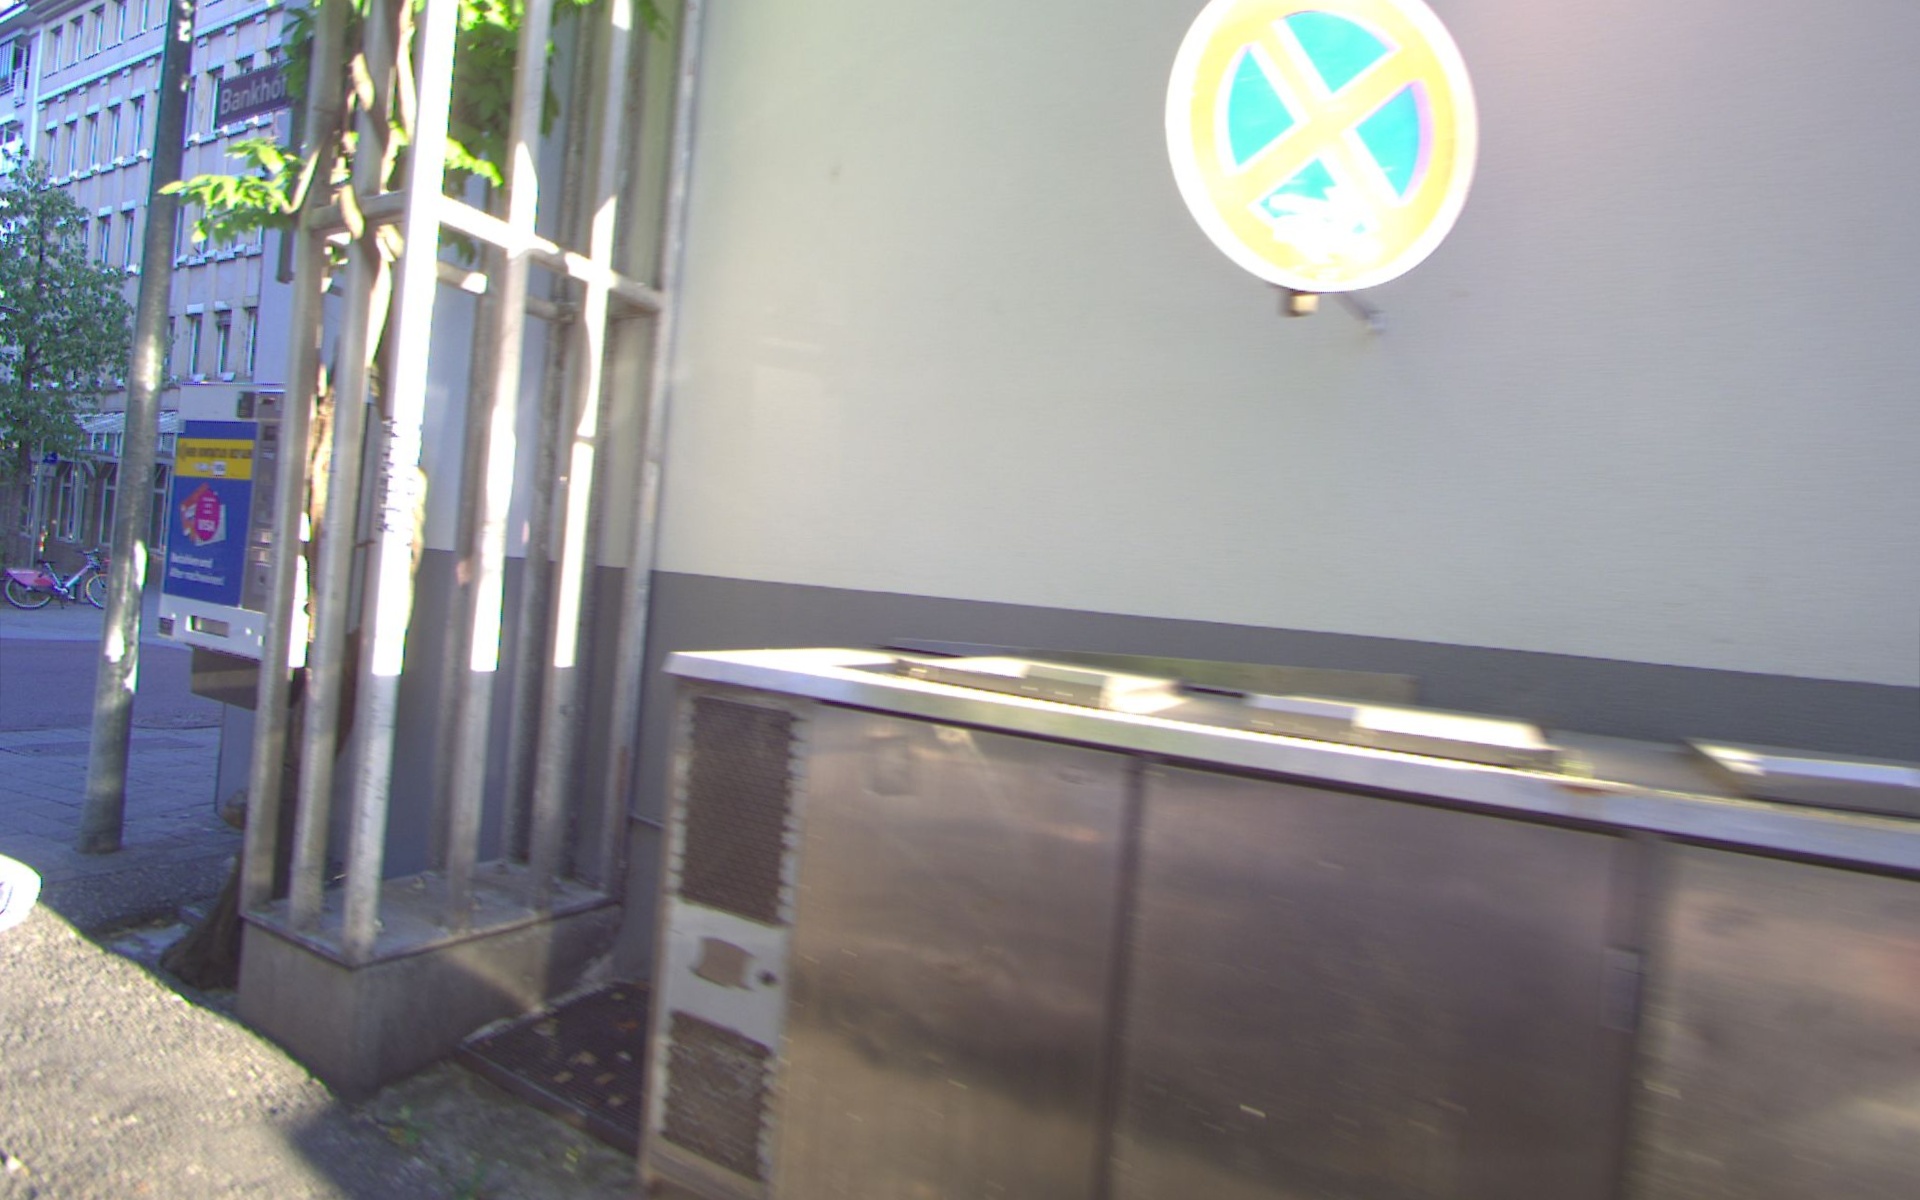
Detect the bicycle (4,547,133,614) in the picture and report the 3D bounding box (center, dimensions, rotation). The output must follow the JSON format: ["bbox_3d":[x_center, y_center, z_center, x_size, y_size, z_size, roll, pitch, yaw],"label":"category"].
[{"bbox_3d":[-15.432,-0.325,17.442,1.648,1.065,0.654,2,4,-44],"label":"bicycle"}]
